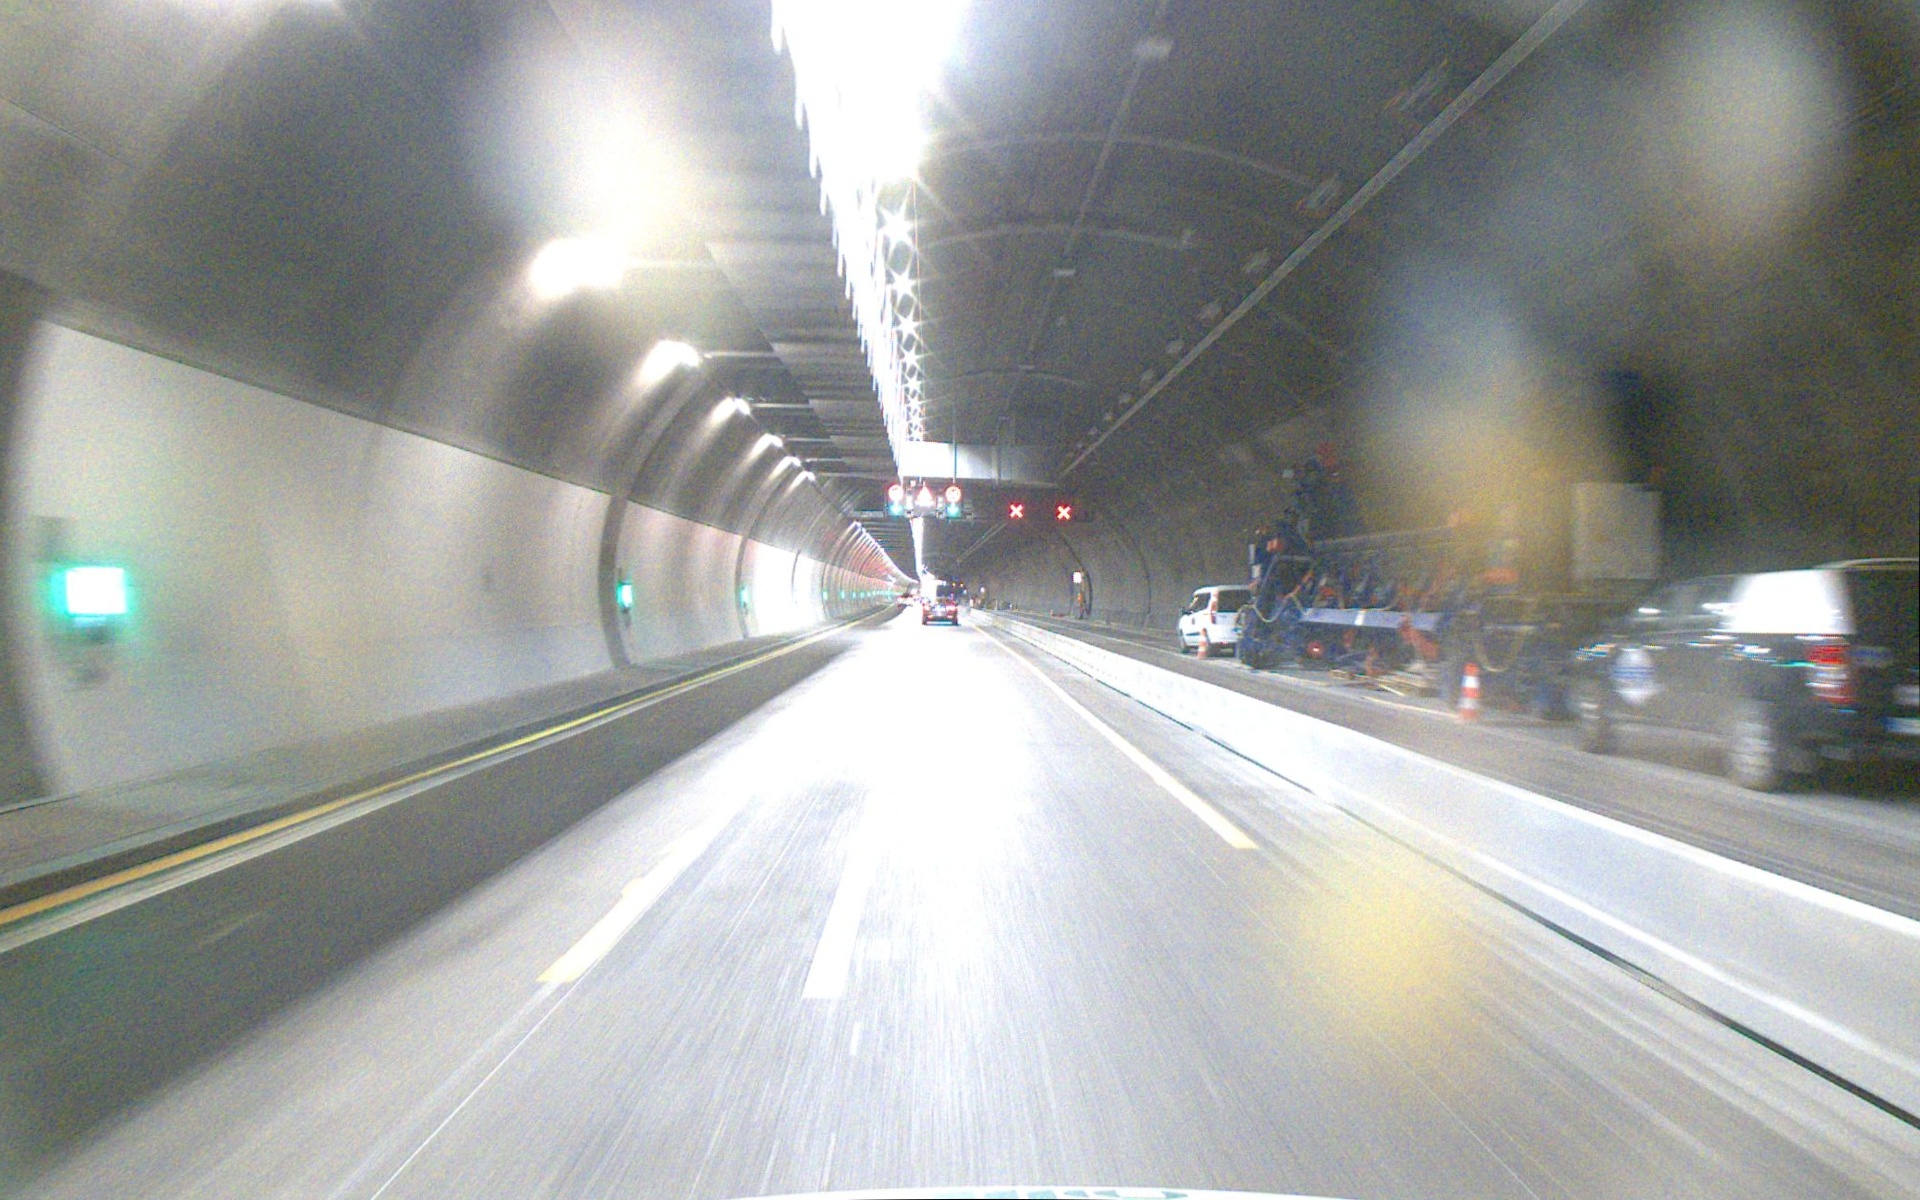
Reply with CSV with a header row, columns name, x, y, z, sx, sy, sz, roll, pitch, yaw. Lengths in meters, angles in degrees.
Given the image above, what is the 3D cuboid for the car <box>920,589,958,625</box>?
name,x,y,z,sx,sy,sz,roll,pitch,yaw
car,-1.106,0.335,86.043,1.907,1.826,3.999,0,0,-2

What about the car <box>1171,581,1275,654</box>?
name,x,y,z,sx,sy,sz,roll,pitch,yaw
car,7.113,0.432,45.251,1.717,1.877,4.640,0,0,-5

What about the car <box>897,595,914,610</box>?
name,x,y,z,sx,sy,sz,roll,pitch,yaw
car,-6.242,0.297,189.292,1.891,1.716,3.999,0,0,-1

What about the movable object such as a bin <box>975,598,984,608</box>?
name,x,y,z,sx,sy,sz,roll,pitch,yaw
movable object such as a bin,2.969,0.473,247.554,1.210,1.467,2.216,2,0,-2

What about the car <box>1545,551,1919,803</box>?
name,x,y,z,sx,sy,sz,roll,pitch,yaw
car,7.347,0.577,15.247,1.791,1.891,5.439,1,0,-2
